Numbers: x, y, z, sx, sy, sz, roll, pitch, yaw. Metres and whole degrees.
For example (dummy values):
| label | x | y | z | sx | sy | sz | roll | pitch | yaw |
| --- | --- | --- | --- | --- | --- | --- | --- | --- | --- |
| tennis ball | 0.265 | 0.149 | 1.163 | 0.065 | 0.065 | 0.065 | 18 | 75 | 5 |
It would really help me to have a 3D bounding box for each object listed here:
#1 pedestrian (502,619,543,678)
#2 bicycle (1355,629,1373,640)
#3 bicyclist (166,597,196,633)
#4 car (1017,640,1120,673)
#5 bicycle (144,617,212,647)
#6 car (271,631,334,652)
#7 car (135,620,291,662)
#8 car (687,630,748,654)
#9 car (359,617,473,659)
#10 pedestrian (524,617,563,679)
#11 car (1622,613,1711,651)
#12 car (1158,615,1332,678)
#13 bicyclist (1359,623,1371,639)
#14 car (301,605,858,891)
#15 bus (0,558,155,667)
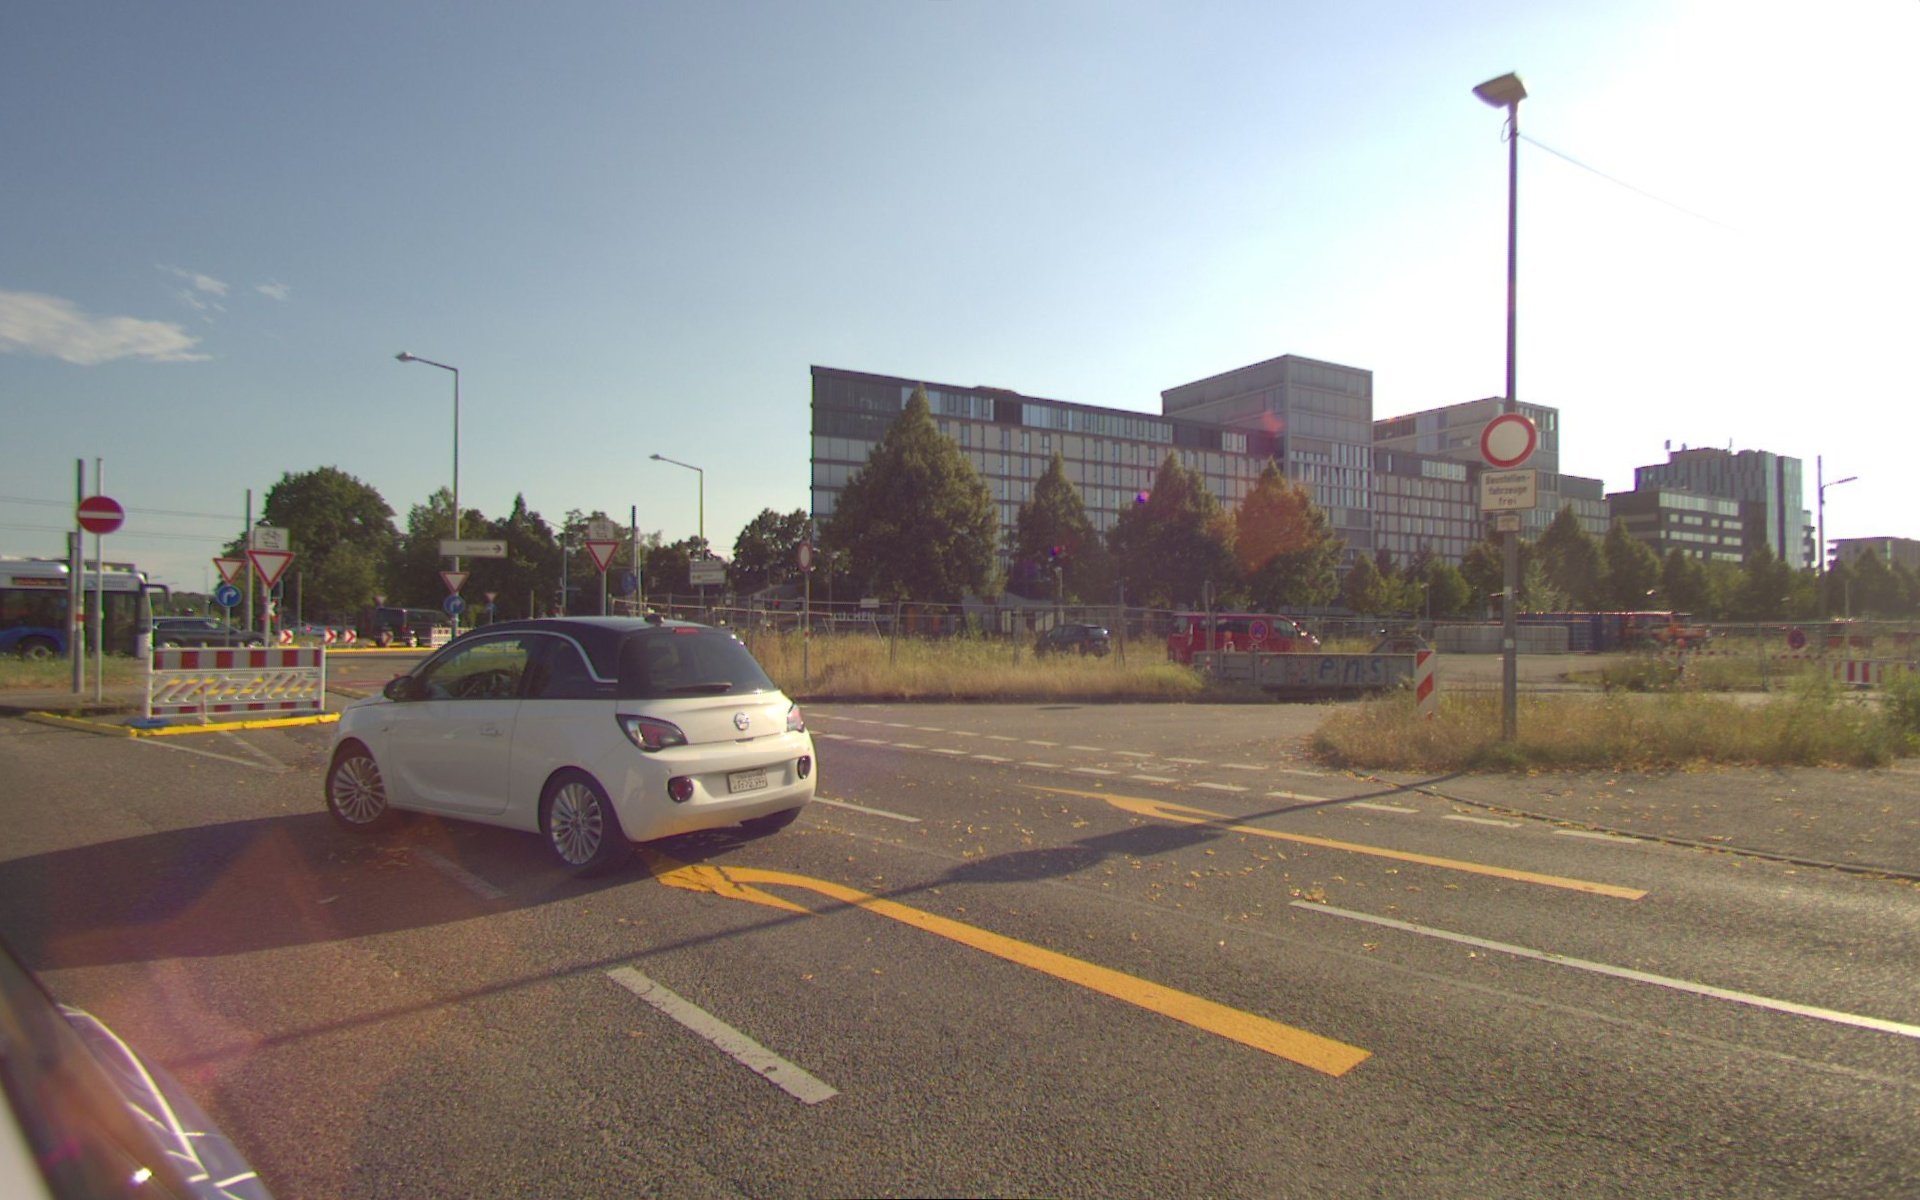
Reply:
| label | x | y | z | sx | sy | sz | roll | pitch | yaw |
| --- | --- | --- | --- | --- | --- | --- | --- | --- | --- |
| pedestrian | -13.036 | 1.432 | 30.153 | 0.777 | 1.722 | 0.810 | 0 | -2 | 10 |
| bicycle | 37.292 | 3.174 | 93.404 | 1.691 | 0.936 | 0.853 | 1 | -2 | -38 |
| bicyclist | -31.550 | 0.590 | 40.974 | 0.882 | 1.395 | 0.762 | 2 | 1 | 37 |
| car | 4.764 | 2.454 | 44.821 | 4.245 | 1.373 | 1.971 | -2 | -3 | 43 |
| bicycle | -31.586 | 1.283 | 40.876 | 0.819 | 1.193 | 2.007 | -1 | -3 | 35 |
| car | -52.360 | 3.302 | 80.614 | 3.960 | 1.587 | 1.992 | 0 | -2 | 13 |
| car | -27.709 | 1.484 | 37.714 | 1.800 | 1.447 | 4.350 | -1 | -2 | 25 |
| car | -14.517 | 2.513 | 60.947 | 1.824 | 1.417 | 4.684 | 0 | -2 | 11 |
| car | -28.066 | 1.934 | 52.425 | 2.078 | 2.063 | 5.211 | 0 | -2 | 19 |
| pedestrian | -12.310 | 1.414 | 29.932 | 0.751 | 1.789 | 0.769 | 0 | -2 | 10 |
| car | 47.315 | 2.125 | 67.750 | 5.833 | 2.459 | 2.542 | 1 | -2 | -30 |
| car | 9.555 | 1.547 | 34.117 | 5.227 | 2.029 | 2.004 | 0 | -2 | -9 |
| bicyclist | 37.457 | 2.890 | 93.607 | 0.618 | 1.420 | 0.872 | 1 | -2 | -37 |
| car | -2.644 | 0.816 | 6.845 | 3.615 | 1.432 | 1.744 | -1 | -3 | 34 |
| bus | -29.730 | 0.313 | 27.485 | 2.666 | 3.085 | 12.006 | -1 | -2 | 43 |
